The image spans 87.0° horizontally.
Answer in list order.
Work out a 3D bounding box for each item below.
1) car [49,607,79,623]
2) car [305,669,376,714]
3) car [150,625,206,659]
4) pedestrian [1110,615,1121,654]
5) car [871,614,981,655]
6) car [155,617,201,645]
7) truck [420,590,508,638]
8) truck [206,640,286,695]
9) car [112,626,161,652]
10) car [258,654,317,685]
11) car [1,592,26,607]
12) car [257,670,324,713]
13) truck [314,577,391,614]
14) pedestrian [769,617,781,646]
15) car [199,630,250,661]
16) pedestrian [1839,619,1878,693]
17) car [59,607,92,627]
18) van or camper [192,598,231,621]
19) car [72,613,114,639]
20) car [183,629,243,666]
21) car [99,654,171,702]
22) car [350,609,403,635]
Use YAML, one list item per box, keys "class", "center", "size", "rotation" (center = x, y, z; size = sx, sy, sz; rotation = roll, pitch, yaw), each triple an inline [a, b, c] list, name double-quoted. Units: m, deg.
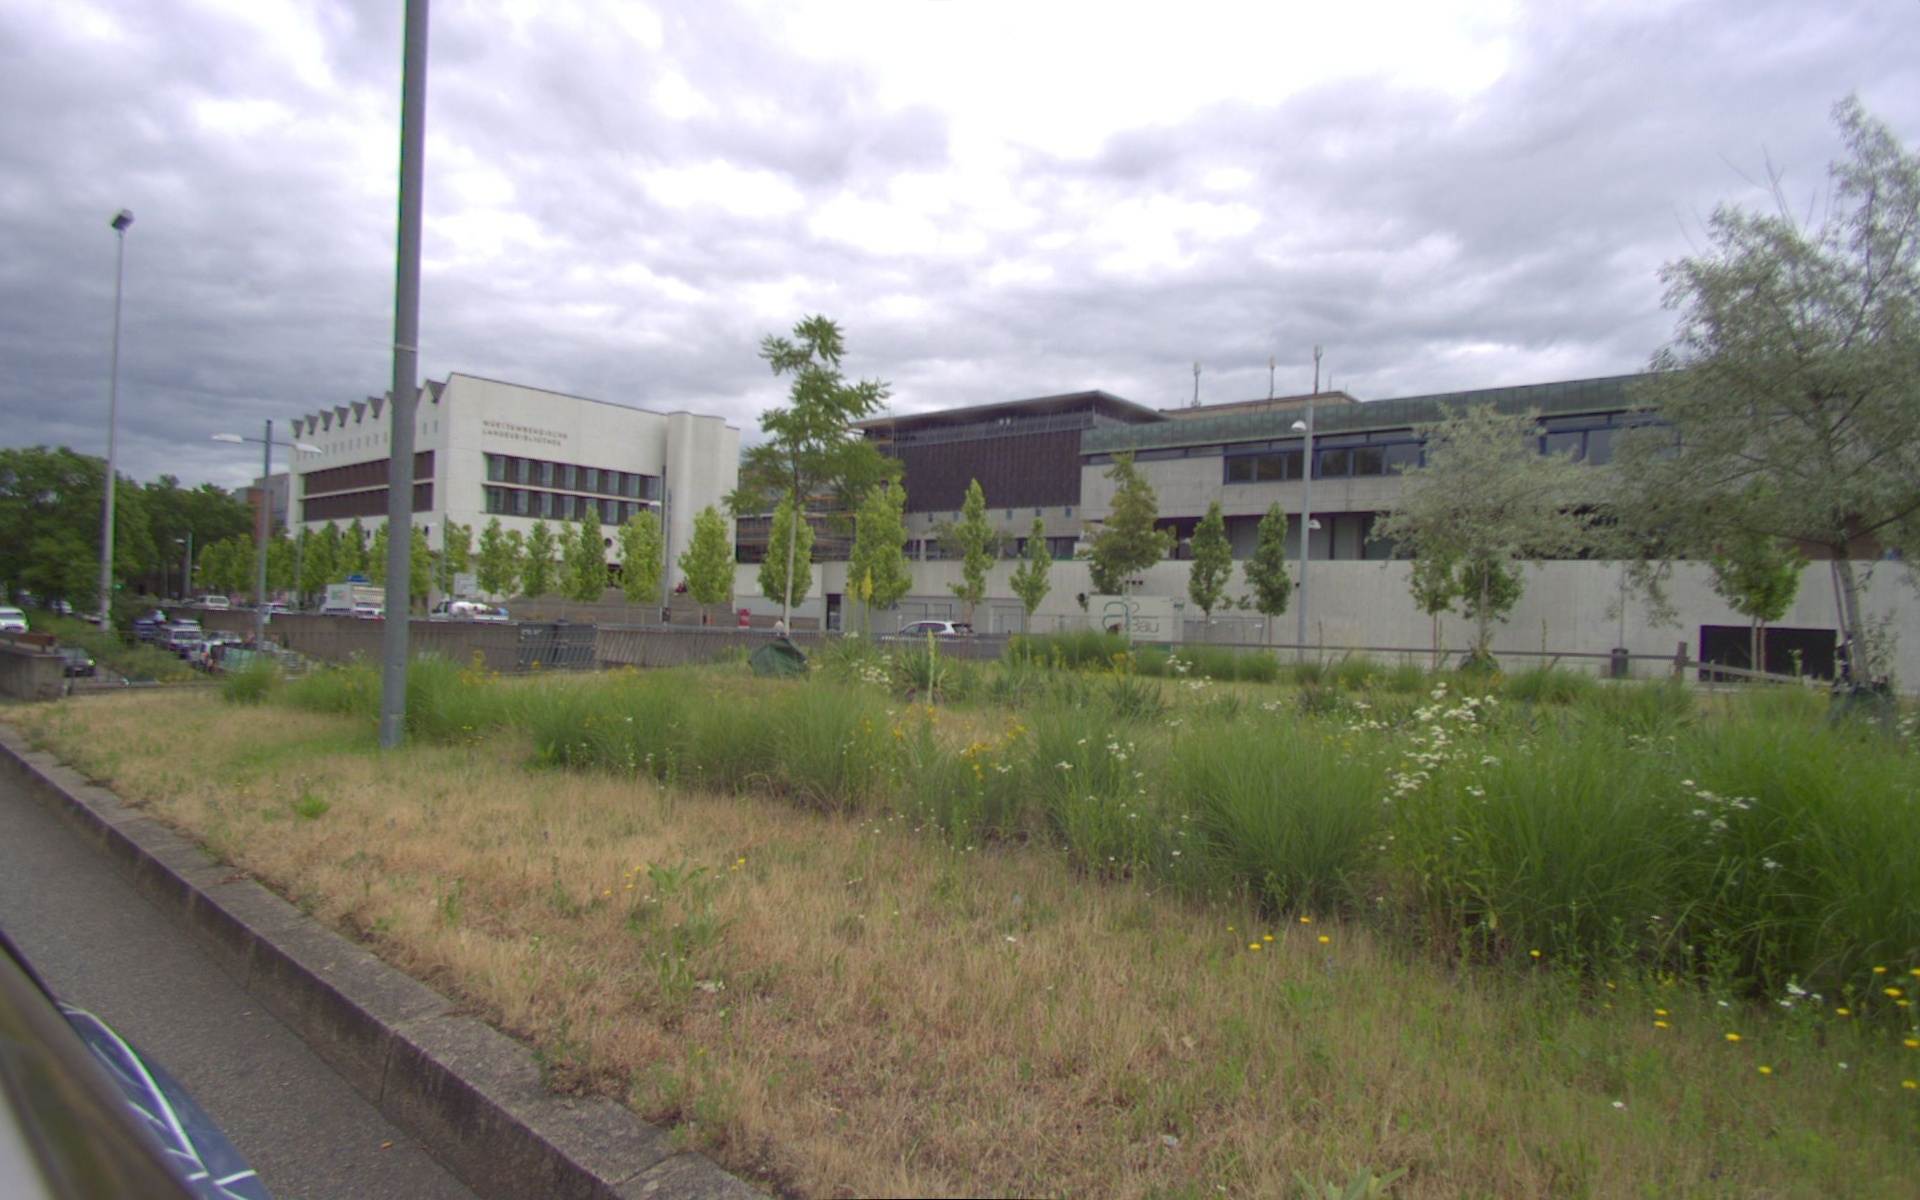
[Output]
- class: "car"
  center: [-84.244, 1.397, 95.167]
  size: [3.360, 1.497, 1.653]
  rotation: [0, -2, 41]
- class: "car"
  center: [-32.535, 4.736, 53.120]
  size: [4.227, 1.970, 1.973]
  rotation: [0, 0, 41]
- class: "car"
  center: [-51.254, 2.752, 66.312]
  size: [4.330, 2.029, 1.973]
  rotation: [-1, -5, 41]
- class: "pedestrian"
  center: [6.071, 1.348, 39.546]
  size: [0.316, 1.533, 0.314]
  rotation: [0, 0, 34]
- class: "car"
  center: [-1.430, 1.375, 40.979]
  size: [4.611, 1.586, 1.700]
  rotation: [-1, -2, 42]
- class: "car"
  center: [-61.031, 2.382, 78.997]
  size: [3.998, 2.029, 1.973]
  rotation: [-1, -5, 41]
- class: "truck"
  center: [-30.613, 0.890, 62.361]
  size: [7.077, 2.838, 2.437]
  rotation: [-1, -2, 42]
- class: "truck"
  center: [-39.279, 3.629, 55.588]
  size: [5.976, 2.711, 2.294]
  rotation: [-1, -1, 42]
- class: "car"
  center: [-60.189, 2.823, 73.920]
  size: [4.279, 1.757, 1.973]
  rotation: [-1, -5, 41]
- class: "car"
  center: [-40.628, 4.162, 61.109]
  size: [3.998, 1.564, 1.973]
  rotation: [0, 0, 41]
- class: "car"
  center: [-123.560, -0.065, 132.142]
  size: [3.997, 2.029, 1.973]
  rotation: [0, 0, 41]
- class: "car"
  center: [-33.565, 4.549, 50.708]
  size: [3.925, 1.829, 1.771]
  rotation: [-1, -1, 40]
- class: "truck"
  center: [-49.646, -0.281, 82.670]
  size: [7.247, 2.809, 3.198]
  rotation: [-1, -2, 40]
- class: "pedestrian"
  center: [-9.846, 1.663, 53.960]
  size: [0.461, 1.533, 0.424]
  rotation: [0, 0, 34]
- class: "car"
  center: [-52.112, 3.206, 71.714]
  size: [3.998, 2.029, 1.973]
  rotation: [-1, -5, 41]
- class: "pedestrian"
  center: [21.631, 1.337, 24.374]
  size: [0.663, 1.747, 0.534]
  rotation: [-1, -1, 41]
- class: "car"
  center: [-91.198, 1.742, 104.329]
  size: [4.653, 2.029, 1.973]
  rotation: [-1, -1, 41]
- class: "van or camper"
  center: [-69.612, 0.891, 94.096]
  size: [4.554, 2.029, 1.973]
  rotation: [-1, -2, 41]
- class: "car"
  center: [-74.327, 2.225, 86.738]
  size: [4.849, 2.148, 1.973]
  rotation: [-1, -5, 41]
- class: "car"
  center: [-44.756, 2.843, 60.620]
  size: [3.998, 2.029, 1.973]
  rotation: [-1, -5, 41]
- class: "car"
  center: [-38.729, 3.615, 47.473]
  size: [3.998, 2.029, 1.973]
  rotation: [-1, -2, 41]
- class: "car"
  center: [-41.146, 1.553, 71.344]
  size: [4.256, 1.829, 1.973]
  rotation: [-1, -2, 41]
